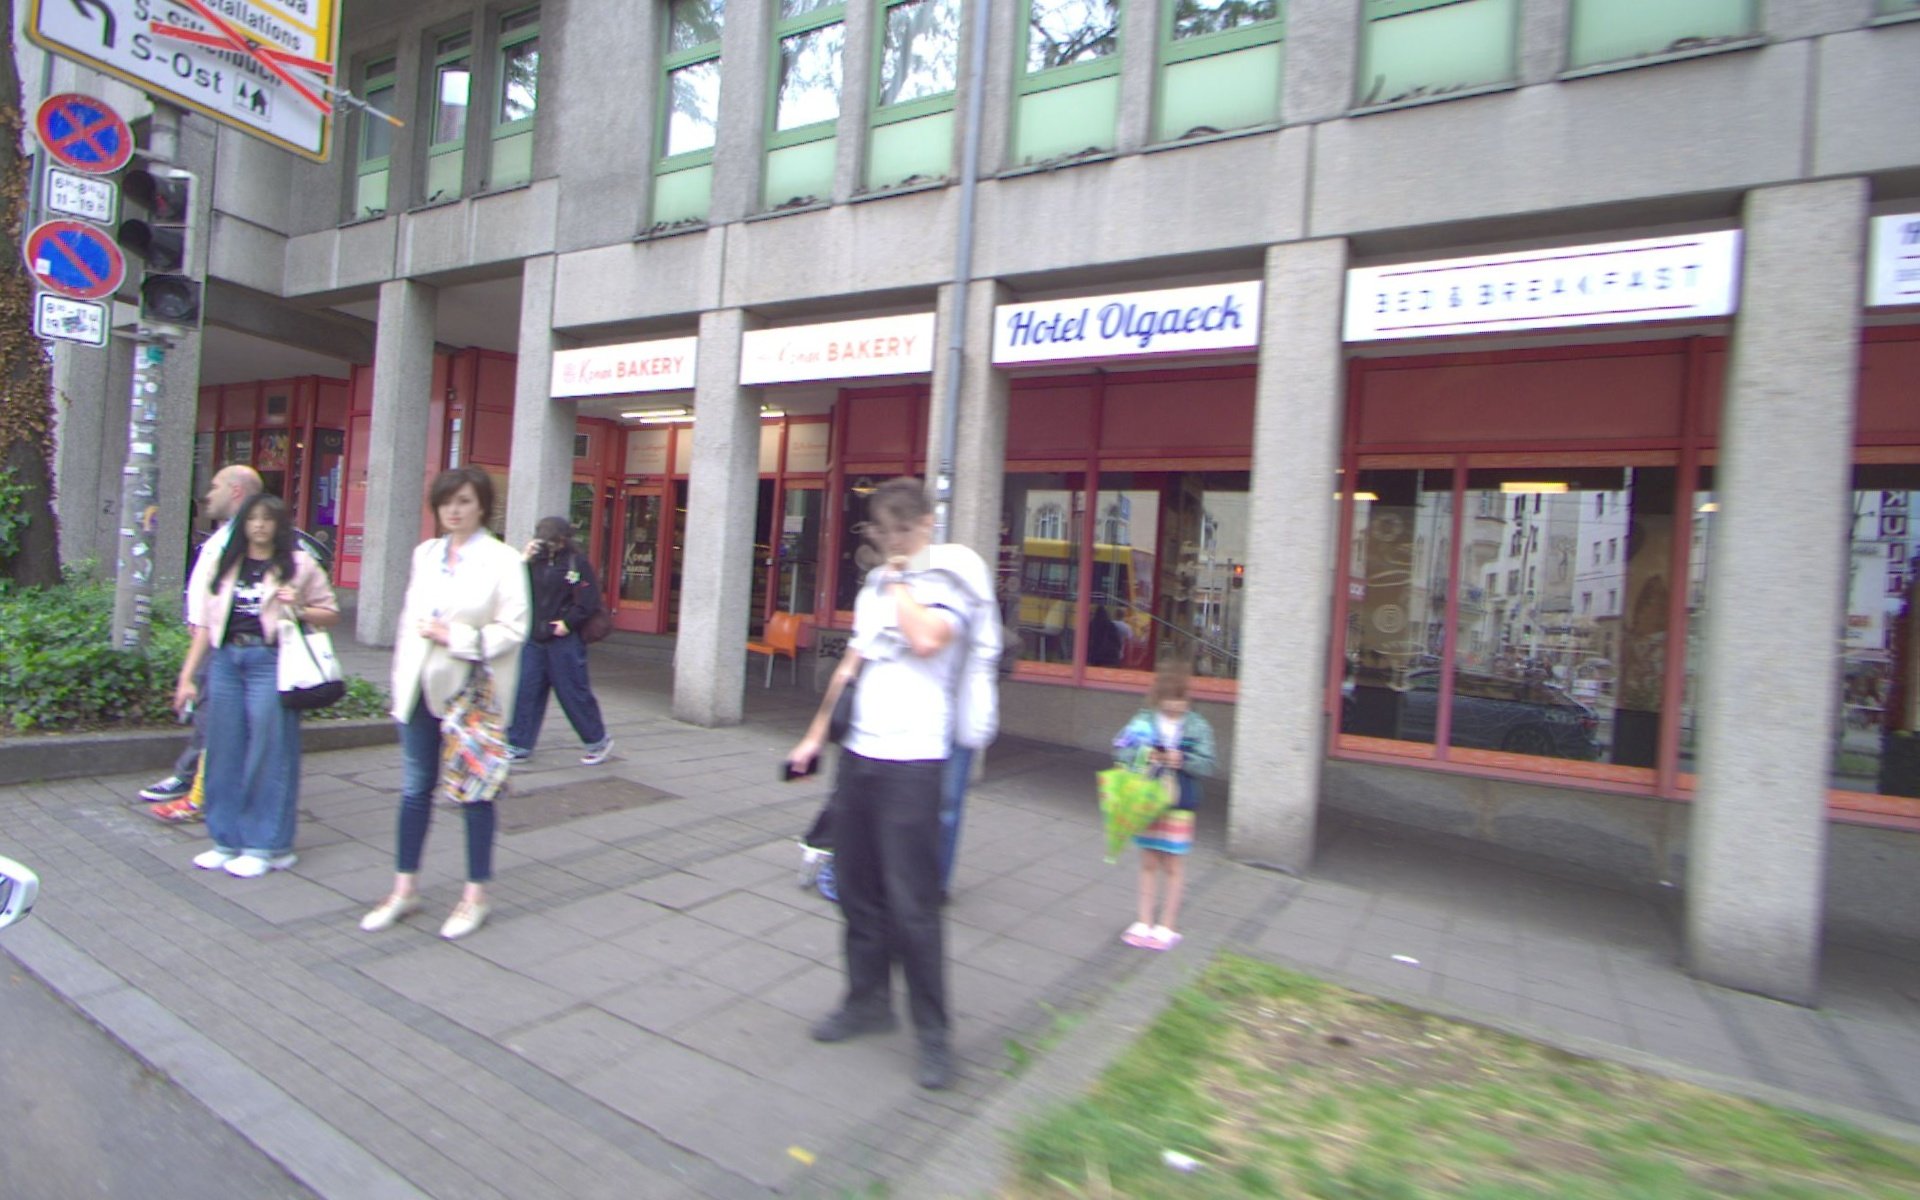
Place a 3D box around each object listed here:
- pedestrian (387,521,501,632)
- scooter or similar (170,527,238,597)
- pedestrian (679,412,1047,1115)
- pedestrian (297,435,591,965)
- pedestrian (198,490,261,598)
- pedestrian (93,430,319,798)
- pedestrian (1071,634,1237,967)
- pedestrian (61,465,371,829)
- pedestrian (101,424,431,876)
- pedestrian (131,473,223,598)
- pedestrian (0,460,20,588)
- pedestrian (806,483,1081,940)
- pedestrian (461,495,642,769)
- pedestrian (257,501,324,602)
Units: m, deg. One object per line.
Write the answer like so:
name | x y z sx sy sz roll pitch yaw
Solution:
pedestrian | -6.937 -0.297 13.561 0.743 1.381 1.058 6 2 24
scooter or similar | -13.157 -0.661 17.505 0.847 1.124 0.760 5 1 43
pedestrian | -0.277 0.438 3.198 0.720 1.897 0.735 5 -1 26
pedestrian | -1.963 0.325 3.856 0.677 1.802 0.693 6 4 26
pedestrian | -12.437 -0.940 17.131 0.758 1.746 0.669 3 2 -40
pedestrian | -3.983 0.061 5.326 0.751 1.810 0.520 5 -1 26
pedestrian | 0.883 0.861 4.538 0.510 1.349 0.472 5 -1 26
pedestrian | -3.612 0.215 4.929 0.751 1.581 0.838 5 -2 26
pedestrian | -2.991 0.182 4.380 0.751 1.726 0.837 6 2 26
pedestrian | -12.209 -0.995 15.690 0.711 1.827 0.832 8 3 30
pedestrian | -14.069 -1.130 14.250 0.833 1.806 0.763 8 3 25
pedestrian | -0.061 0.454 4.609 0.819 1.827 0.722 8 3 26
pedestrian | -2.678 0.197 6.618 0.751 1.633 0.617 8 3 26
pedestrian | -11.600 -0.842 17.422 0.752 1.633 0.616 9 3 34
